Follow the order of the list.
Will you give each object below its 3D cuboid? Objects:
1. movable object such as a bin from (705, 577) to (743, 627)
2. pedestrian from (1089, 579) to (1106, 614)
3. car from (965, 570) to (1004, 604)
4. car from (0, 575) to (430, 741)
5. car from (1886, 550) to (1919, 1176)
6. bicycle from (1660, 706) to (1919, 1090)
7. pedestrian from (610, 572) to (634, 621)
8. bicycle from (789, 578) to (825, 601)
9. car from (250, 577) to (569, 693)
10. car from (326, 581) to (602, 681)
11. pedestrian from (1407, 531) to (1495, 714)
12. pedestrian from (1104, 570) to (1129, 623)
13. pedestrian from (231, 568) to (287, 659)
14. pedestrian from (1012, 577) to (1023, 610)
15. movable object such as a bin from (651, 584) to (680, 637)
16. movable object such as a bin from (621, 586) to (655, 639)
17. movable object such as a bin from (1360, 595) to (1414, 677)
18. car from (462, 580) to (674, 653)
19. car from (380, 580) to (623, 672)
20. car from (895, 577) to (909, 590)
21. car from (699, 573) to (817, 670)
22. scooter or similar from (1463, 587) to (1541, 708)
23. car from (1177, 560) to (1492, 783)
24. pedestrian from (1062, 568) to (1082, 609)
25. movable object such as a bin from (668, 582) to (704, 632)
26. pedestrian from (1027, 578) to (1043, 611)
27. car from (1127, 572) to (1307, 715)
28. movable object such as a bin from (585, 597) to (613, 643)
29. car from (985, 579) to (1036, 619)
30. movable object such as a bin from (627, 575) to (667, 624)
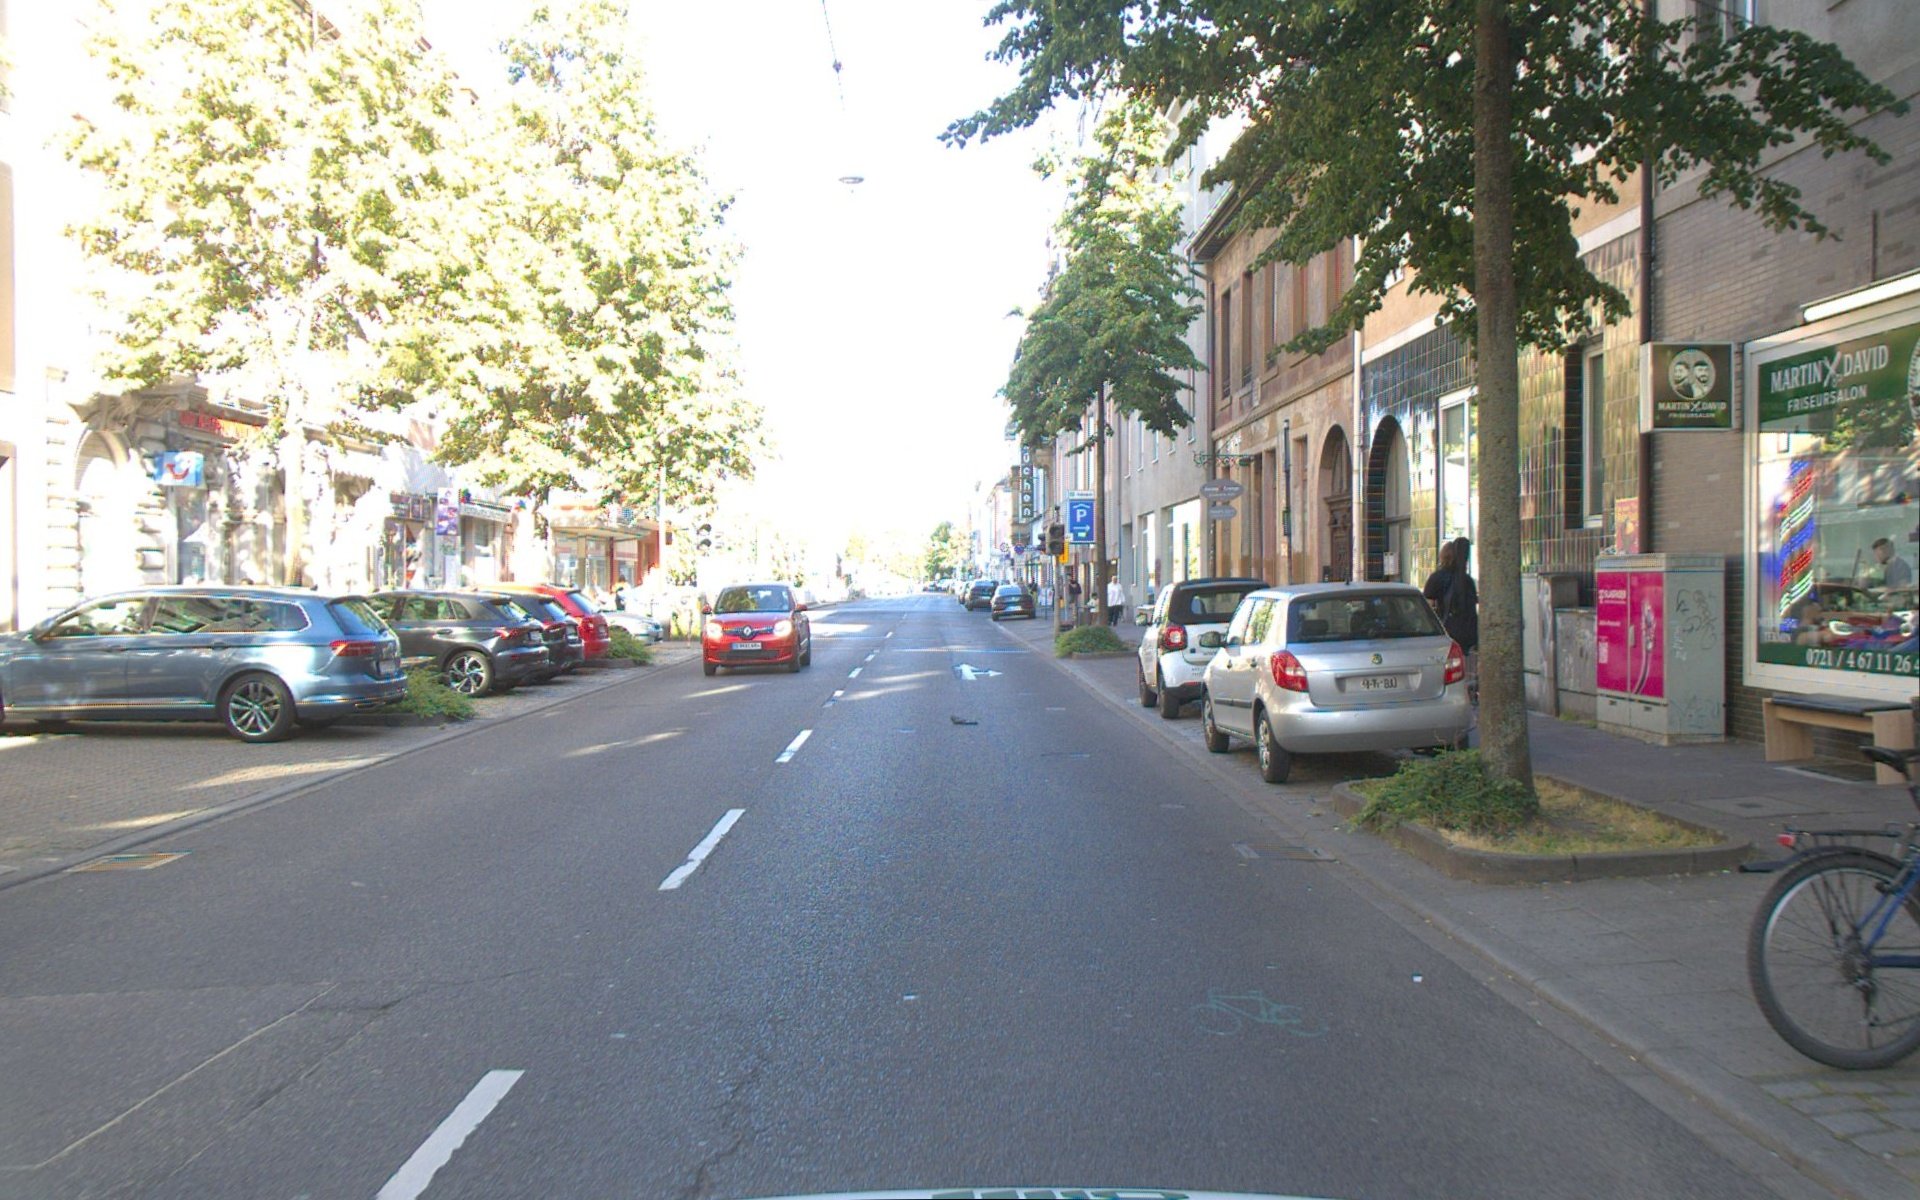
[{"bbox_3d":[-7.218,0.046,50.542,1.021,1.497,1.143,-1,0,-2],"label":"movable object such as a bin"},{"bbox_3d":[4.260,-0.117,51.220,0.385,1.051,0.739,-3,0,-2],"label":"pedestrian"},{"bbox_3d":[1.302,-0.706,89.363,1.933,1.755,4.823,1,1,-1],"label":"car"},{"bbox_3d":[-7.831,0.544,16.634,4.403,1.484,1.789,2,0,-3],"label":"car"},{"bbox_3d":[3.326,0.641,2.068,1.845,1.553,4.233,-2,1,-2],"label":"car"},{"bbox_3d":[3.195,0.887,5.304,1.590,1.030,0.611,-5,1,-3],"label":"bicycle"},{"bbox_3d":[-11.716,-0.122,57.320,0.651,1.688,1.036,0,0,-2],"label":"pedestrian"},{"bbox_3d":[-13.980,-0.996,151.214,3.055,2.049,0.909,1,0,8],"label":"bicycle"},{"bbox_3d":[-7.603,0.463,23.111,3.838,1.511,1.771,1,1,0],"label":"car"},{"bbox_3d":[-7.678,0.459,25.851,3.762,1.453,1.790,1,1,0],"label":"car"},{"bbox_3d":[4.998,0.220,16.871,0.610,1.796,0.771,-2,0,0],"label":"pedestrian"},{"bbox_3d":[4.853,-0.113,51.223,0.569,1.586,1.020,-3,0,-2],"label":"pedestrian"},{"bbox_3d":[-11.203,0.203,26.444,0.497,1.433,0.825,1,1,3],"label":"pedestrian"},{"bbox_3d":[3.080,-0.345,88.227,0.607,1.797,0.518,0,0,2],"label":"pedestrian"},{"bbox_3d":[-7.749,0.262,43.495,0.621,1.364,0.805,-1,0,-2],"label":"movable object such as a bin"},{"bbox_3d":[-8.457,0.330,43.453,0.739,1.364,0.805,-1,0,-2],"label":"movable object such as a bin"},{"bbox_3d":[5.750,0.472,22.295,0.511,1.058,0.722,-2,0,0],"label":"movable object such as a bin"},{"bbox_3d":[-8.398,0.331,35.672,4.116,1.494,1.740,1,1,1],"label":"car"},{"bbox_3d":[-7.791,0.424,28.358,3.672,1.494,1.739,1,1,-2],"label":"car"},{"bbox_3d":[-8.428,-2.462,240.622,1.952,1.802,4.001,1,1,0],"label":"car"},{"bbox_3d":[-3.510,0.336,29.255,1.624,1.562,3.760,-2,1,-1],"label":"car"},{"bbox_3d":[5.657,0.475,17.309,0.391,1.207,1.168,-2,0,0],"label":"scooter or similar"},{"bbox_3d":[3.053,0.506,14.355,1.581,1.555,4.233,-3,1,-2],"label":"car"},{"bbox_3d":[4.657,-0.486,68.669,0.678,1.664,0.889,-2,1,-2],"label":"pedestrian"},{"bbox_3d":[-8.339,0.217,50.432,0.944,1.497,1.143,0,0,-2],"label":"movable object such as a bin"},{"bbox_3d":[4.011,-0.308,88.160,0.784,1.704,0.589,-2,0,2],"label":"pedestrian"},{"bbox_3d":[3.048,0.476,20.141,1.581,1.555,3.060,-2,0,-2],"label":"car"},{"bbox_3d":[-8.741,0.471,40.050,0.520,1.088,0.805,-1,0,-2],"label":"movable object such as a bin"},{"bbox_3d":[2.098,-0.054,69.915,1.879,1.504,4.964,-4,1,-1],"label":"car"},{"bbox_3d":[-9.561,-0.022,50.484,1.021,1.497,1.143,-1,0,-2],"label":"movable object such as a bin"}]
